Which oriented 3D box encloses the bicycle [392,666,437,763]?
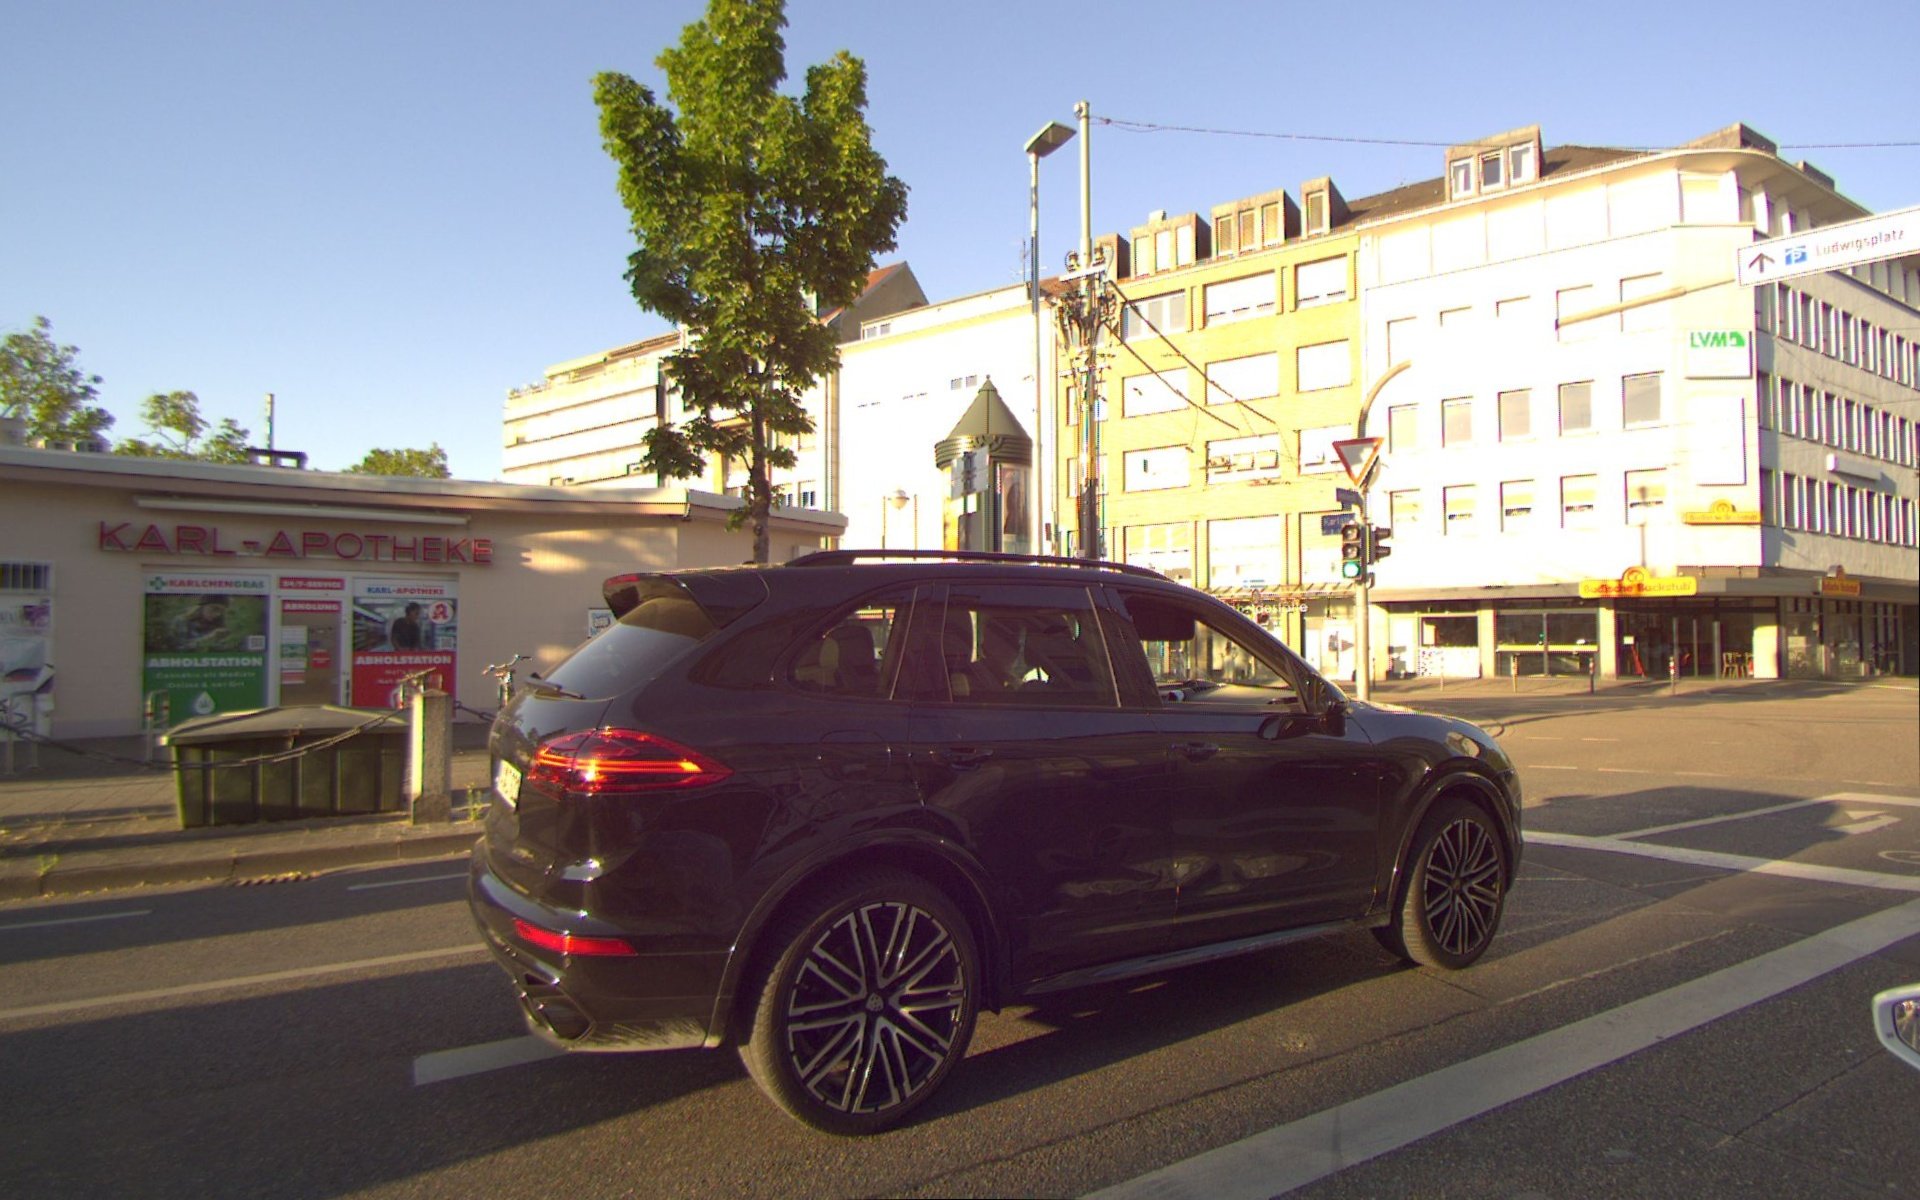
[{"bbox_3d":[-6.986,1.421,12.843,0.443,1.128,1.858,2,-4,-30],"label":"bicycle"}]

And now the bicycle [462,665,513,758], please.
[{"bbox_3d":[-6.315,1.442,13.378,0.443,1.128,1.858,2,-4,-30],"label":"bicycle"}]

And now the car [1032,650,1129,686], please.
[{"bbox_3d":[4.653,2.625,38.801,3.334,1.270,1.631,-3,-1,36],"label":"car"}]

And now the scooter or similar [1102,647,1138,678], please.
[{"bbox_3d":[6.684,2.605,42.096,1.443,1.275,0.394,-3,-2,37],"label":"scooter or similar"}]

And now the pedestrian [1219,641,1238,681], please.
[{"bbox_3d":[10.339,2.338,38.679,0.613,1.491,0.544,-2,0,19],"label":"pedestrian"}]

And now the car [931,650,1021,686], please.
[{"bbox_3d":[0.651,2.798,41.445,3.334,1.371,1.631,-3,-1,36],"label":"car"}]

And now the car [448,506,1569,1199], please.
[{"bbox_3d":[0.426,0.717,4.256,4.516,1.720,1.792,1,-2,-31],"label":"car"}]
